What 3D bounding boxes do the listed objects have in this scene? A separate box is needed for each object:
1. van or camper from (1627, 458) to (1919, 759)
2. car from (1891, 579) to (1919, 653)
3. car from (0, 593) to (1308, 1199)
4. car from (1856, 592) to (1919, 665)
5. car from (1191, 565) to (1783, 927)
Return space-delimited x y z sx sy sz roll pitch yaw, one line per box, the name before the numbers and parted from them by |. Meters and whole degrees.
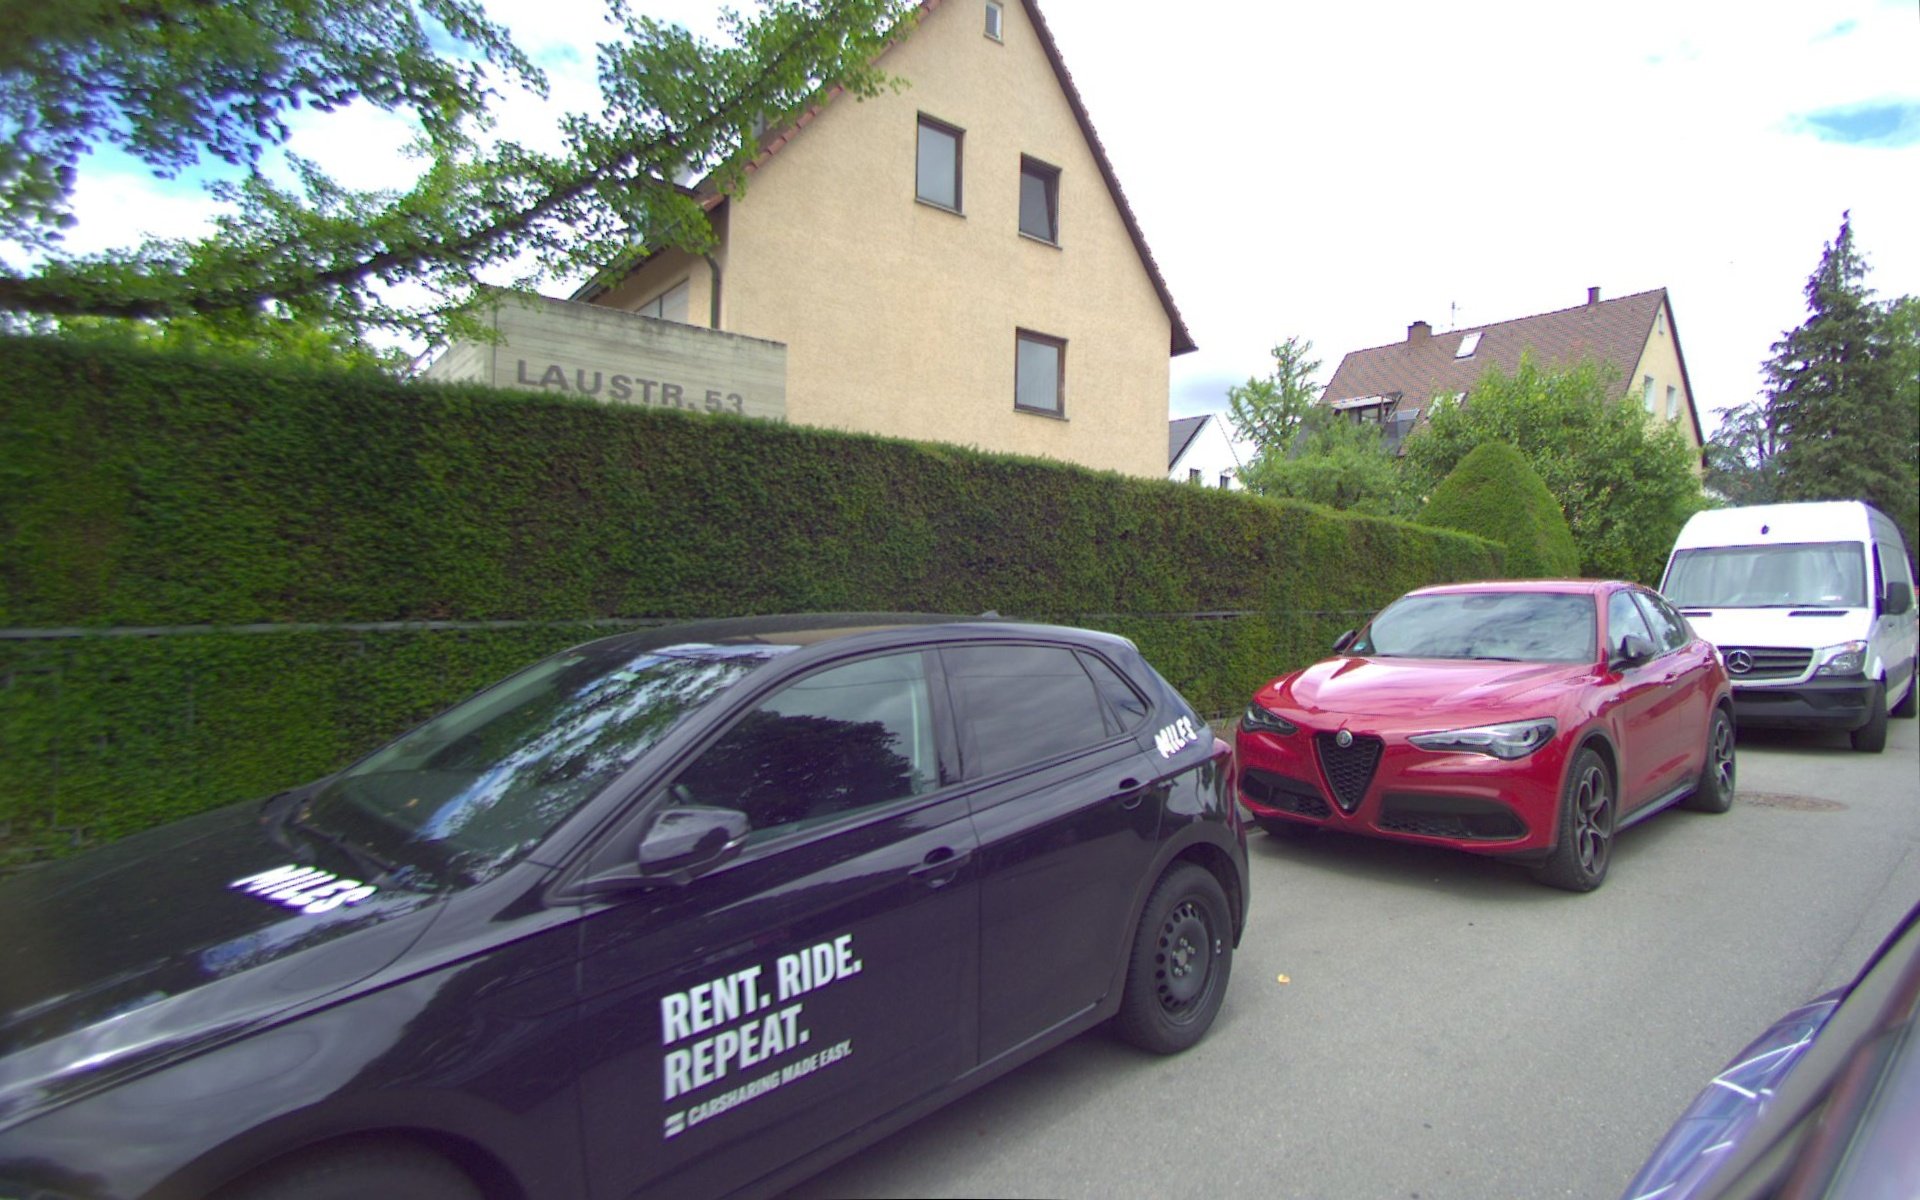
van or camper | 10.125 0.065 12.074 6.921 2.653 2.043 0 -1 -43
car | 24.827 0.367 25.215 4.086 1.788 1.771 0 -1 -38
car | -0.695 0.719 2.936 1.679 1.424 3.989 2 2 44
car | 20.464 0.552 21.472 4.320 1.448 1.702 0 0 -42
car | 3.752 0.617 6.759 4.681 1.600 1.892 0 2 -41
